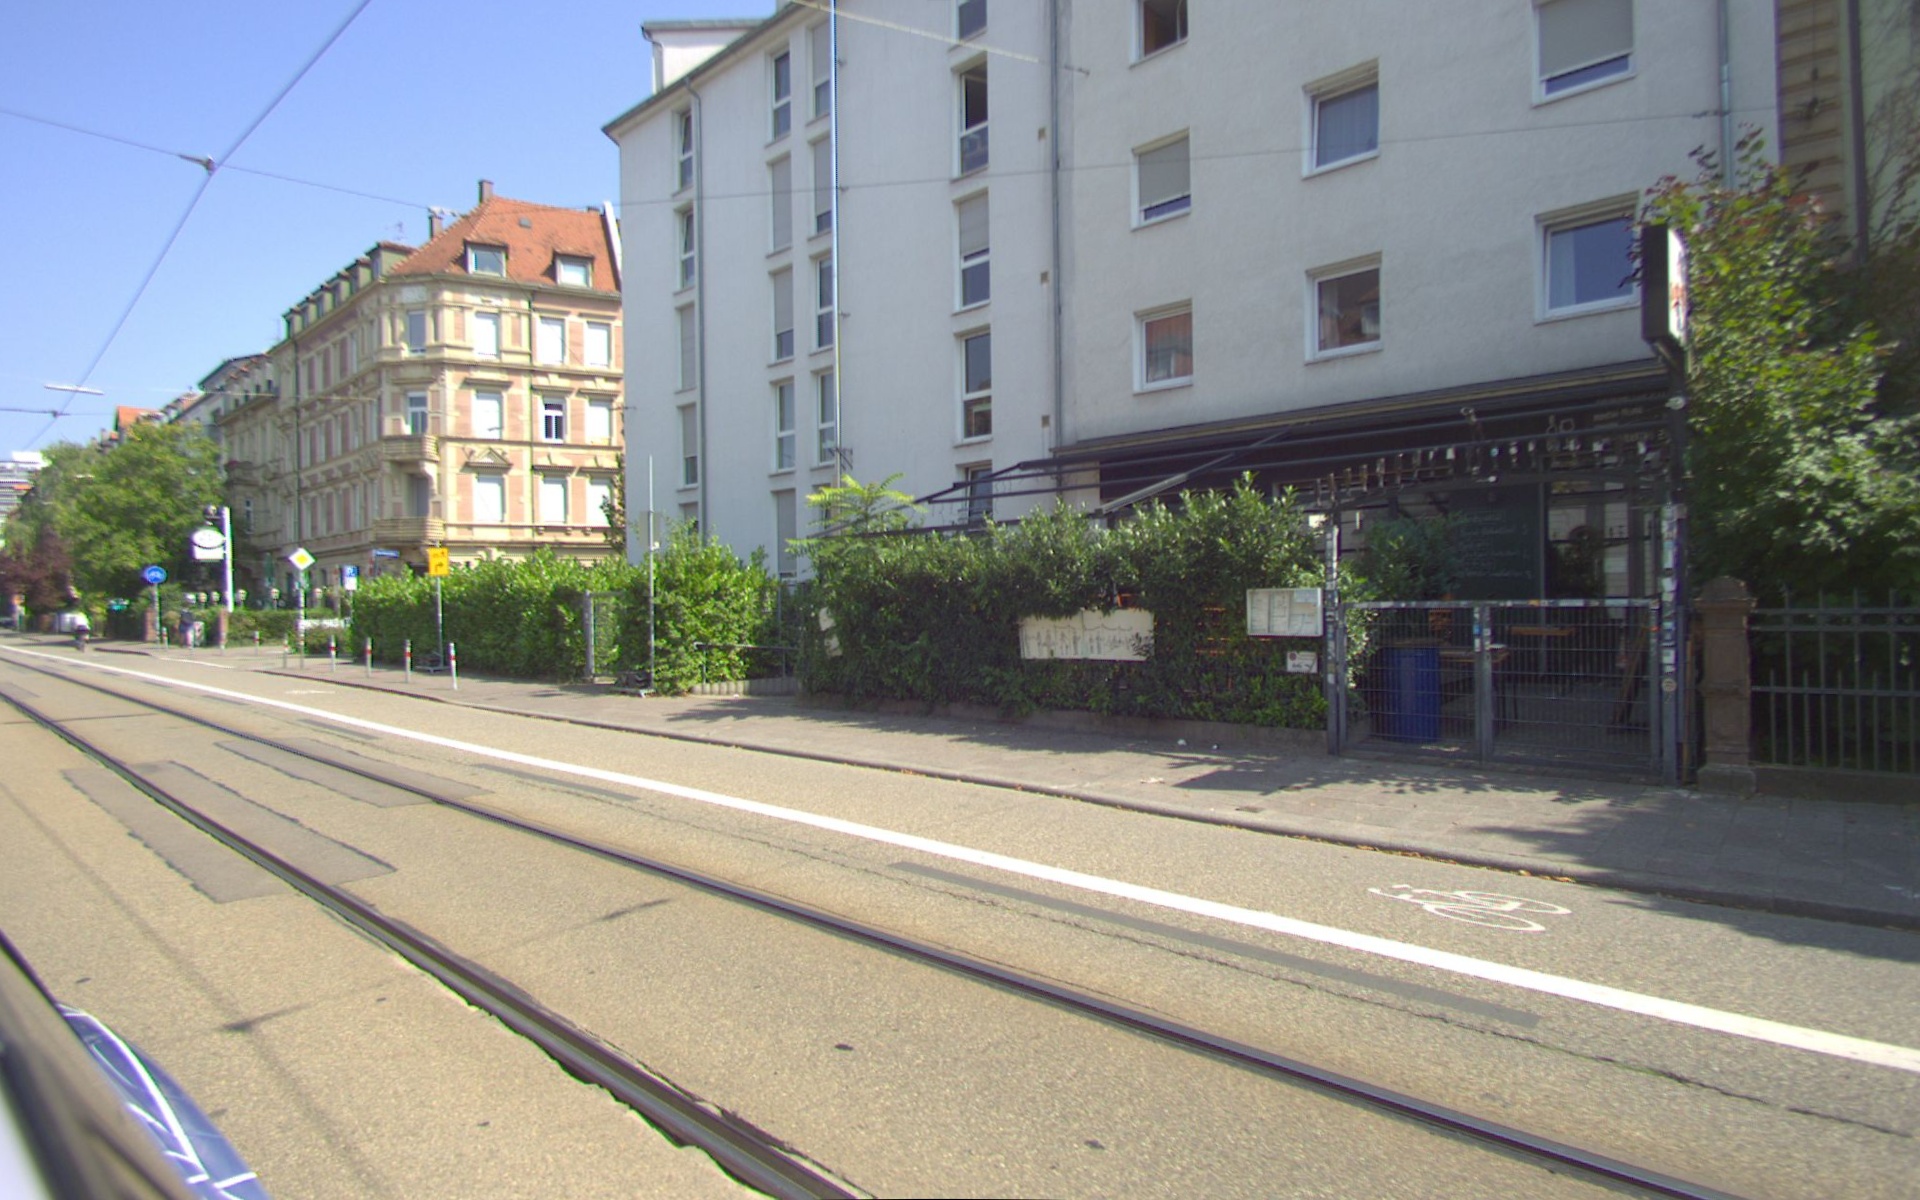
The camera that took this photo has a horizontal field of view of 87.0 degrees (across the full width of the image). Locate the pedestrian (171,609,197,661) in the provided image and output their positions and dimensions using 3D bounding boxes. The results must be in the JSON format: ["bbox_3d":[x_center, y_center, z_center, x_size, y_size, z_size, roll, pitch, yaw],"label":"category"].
[{"bbox_3d":[-30.755,1.388,40.103,0.974,2.029,0.648,-2,-1,41],"label":"pedestrian"}]

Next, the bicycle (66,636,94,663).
[{"bbox_3d":[-37.320,2.097,42.906,1.914,1.085,0.634,-2,-1,41],"label":"bicycle"}]

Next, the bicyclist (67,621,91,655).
[{"bbox_3d":[-37.373,1.612,42.939,0.974,1.439,0.648,-2,-1,41],"label":"bicyclist"}]
